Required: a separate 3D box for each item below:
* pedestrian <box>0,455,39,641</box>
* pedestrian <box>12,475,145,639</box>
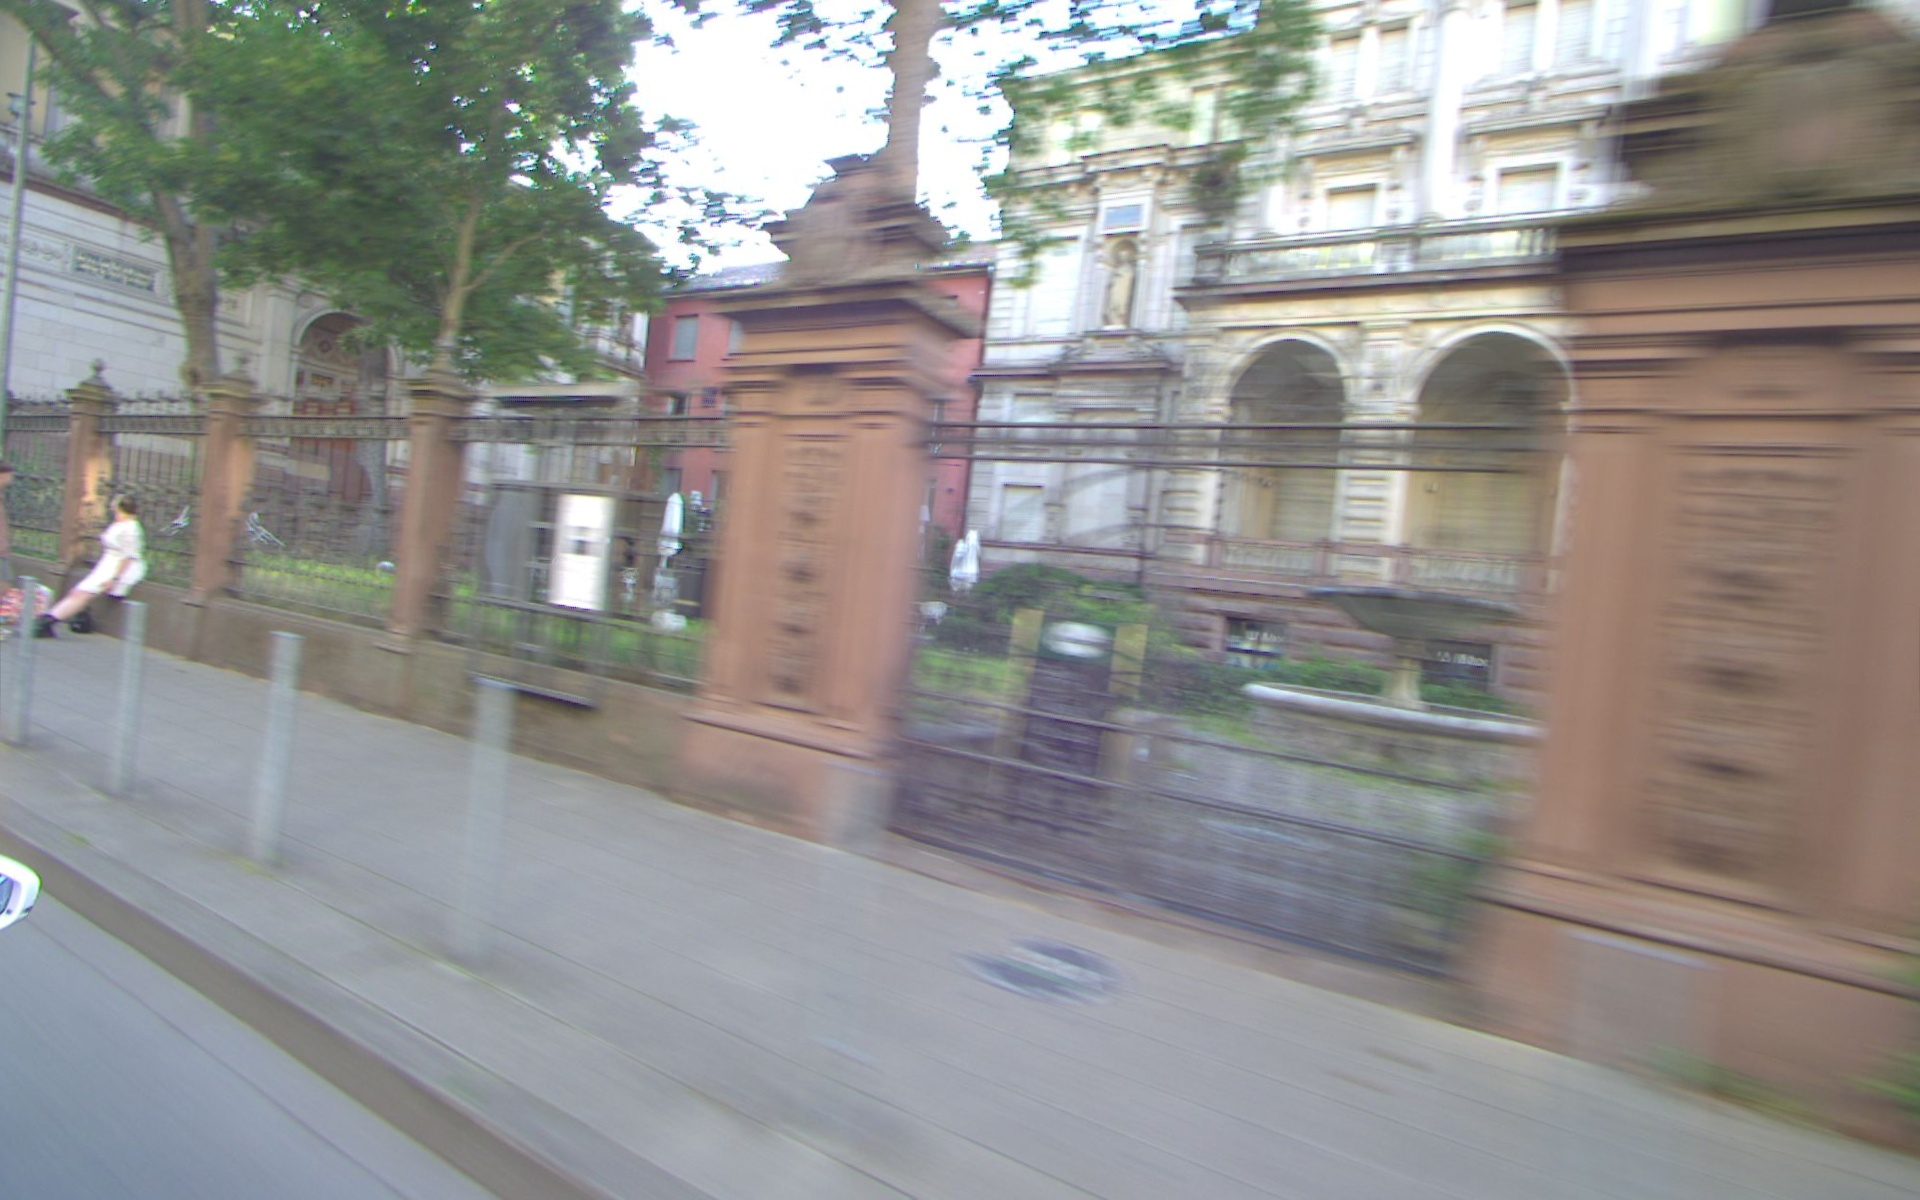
[{"bbox_3d":[-8.917,-0.492,9.183,0.607,1.680,0.485,6,2,25],"label":"pedestrian"},{"bbox_3d":[-8.669,-0.407,9.903,0.608,1.519,0.750,7,2,26],"label":"pedestrian"}]
